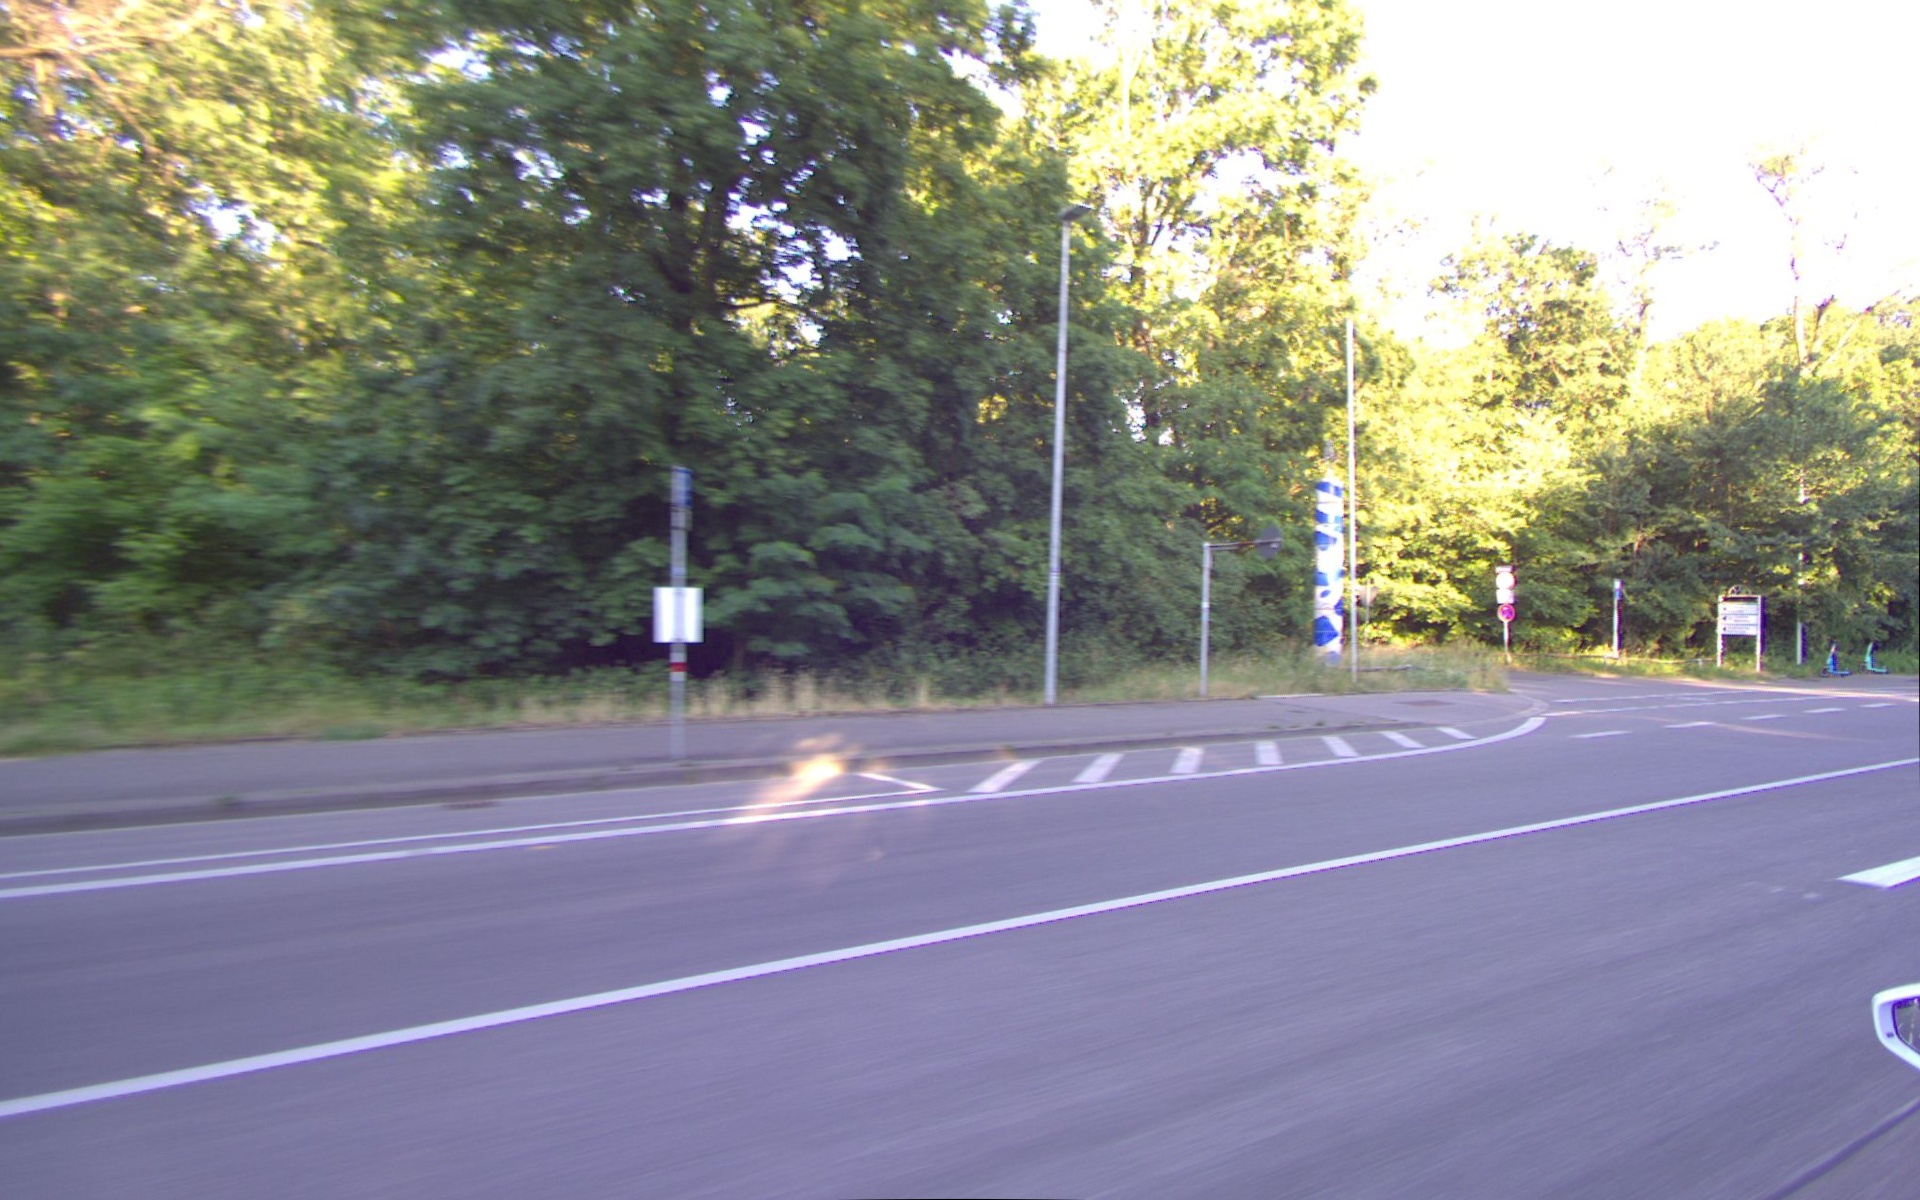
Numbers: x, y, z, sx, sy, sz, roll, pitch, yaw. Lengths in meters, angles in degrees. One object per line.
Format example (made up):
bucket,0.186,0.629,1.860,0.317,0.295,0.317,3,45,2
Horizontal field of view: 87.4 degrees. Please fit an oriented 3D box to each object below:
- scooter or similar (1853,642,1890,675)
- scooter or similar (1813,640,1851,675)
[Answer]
scooter or similar,31.126,1.984,34.318,0.885,1.082,0.494,0,-1,35
scooter or similar,28.259,1.854,32.548,0.862,1.124,0.362,0,-1,12
